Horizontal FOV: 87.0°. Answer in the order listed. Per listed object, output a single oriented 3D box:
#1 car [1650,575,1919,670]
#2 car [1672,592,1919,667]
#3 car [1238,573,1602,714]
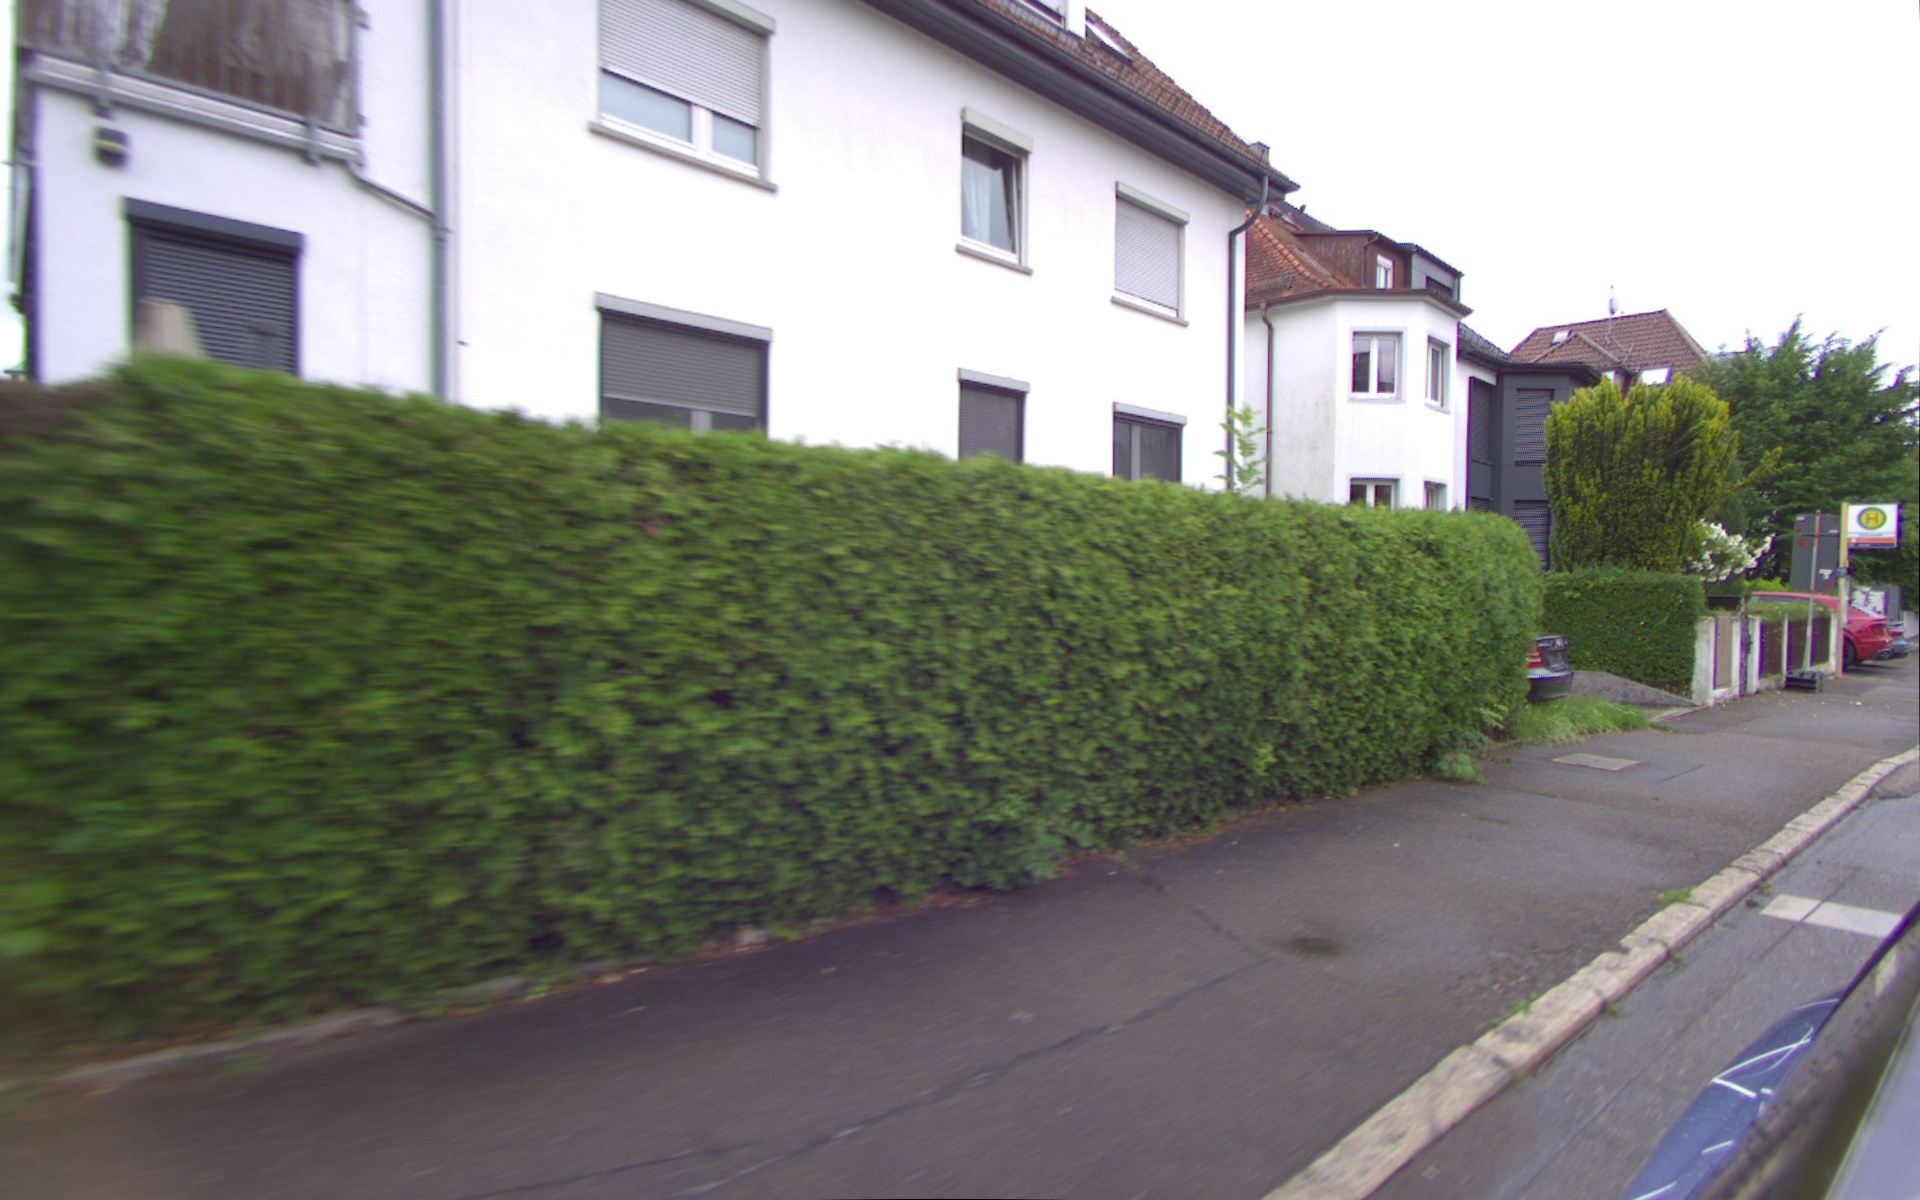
[{"bbox_3d":[17.885,0.420,22.196,4.034,1.772,1.988,3,2,19],"label":"car"},{"bbox_3d":[20.056,0.639,24.308,4.549,1.434,1.968,4,3,44],"label":"car"},{"bbox_3d":[5.536,0.444,12.524,1.588,1.405,3.750,3,0,-41],"label":"car"}]
